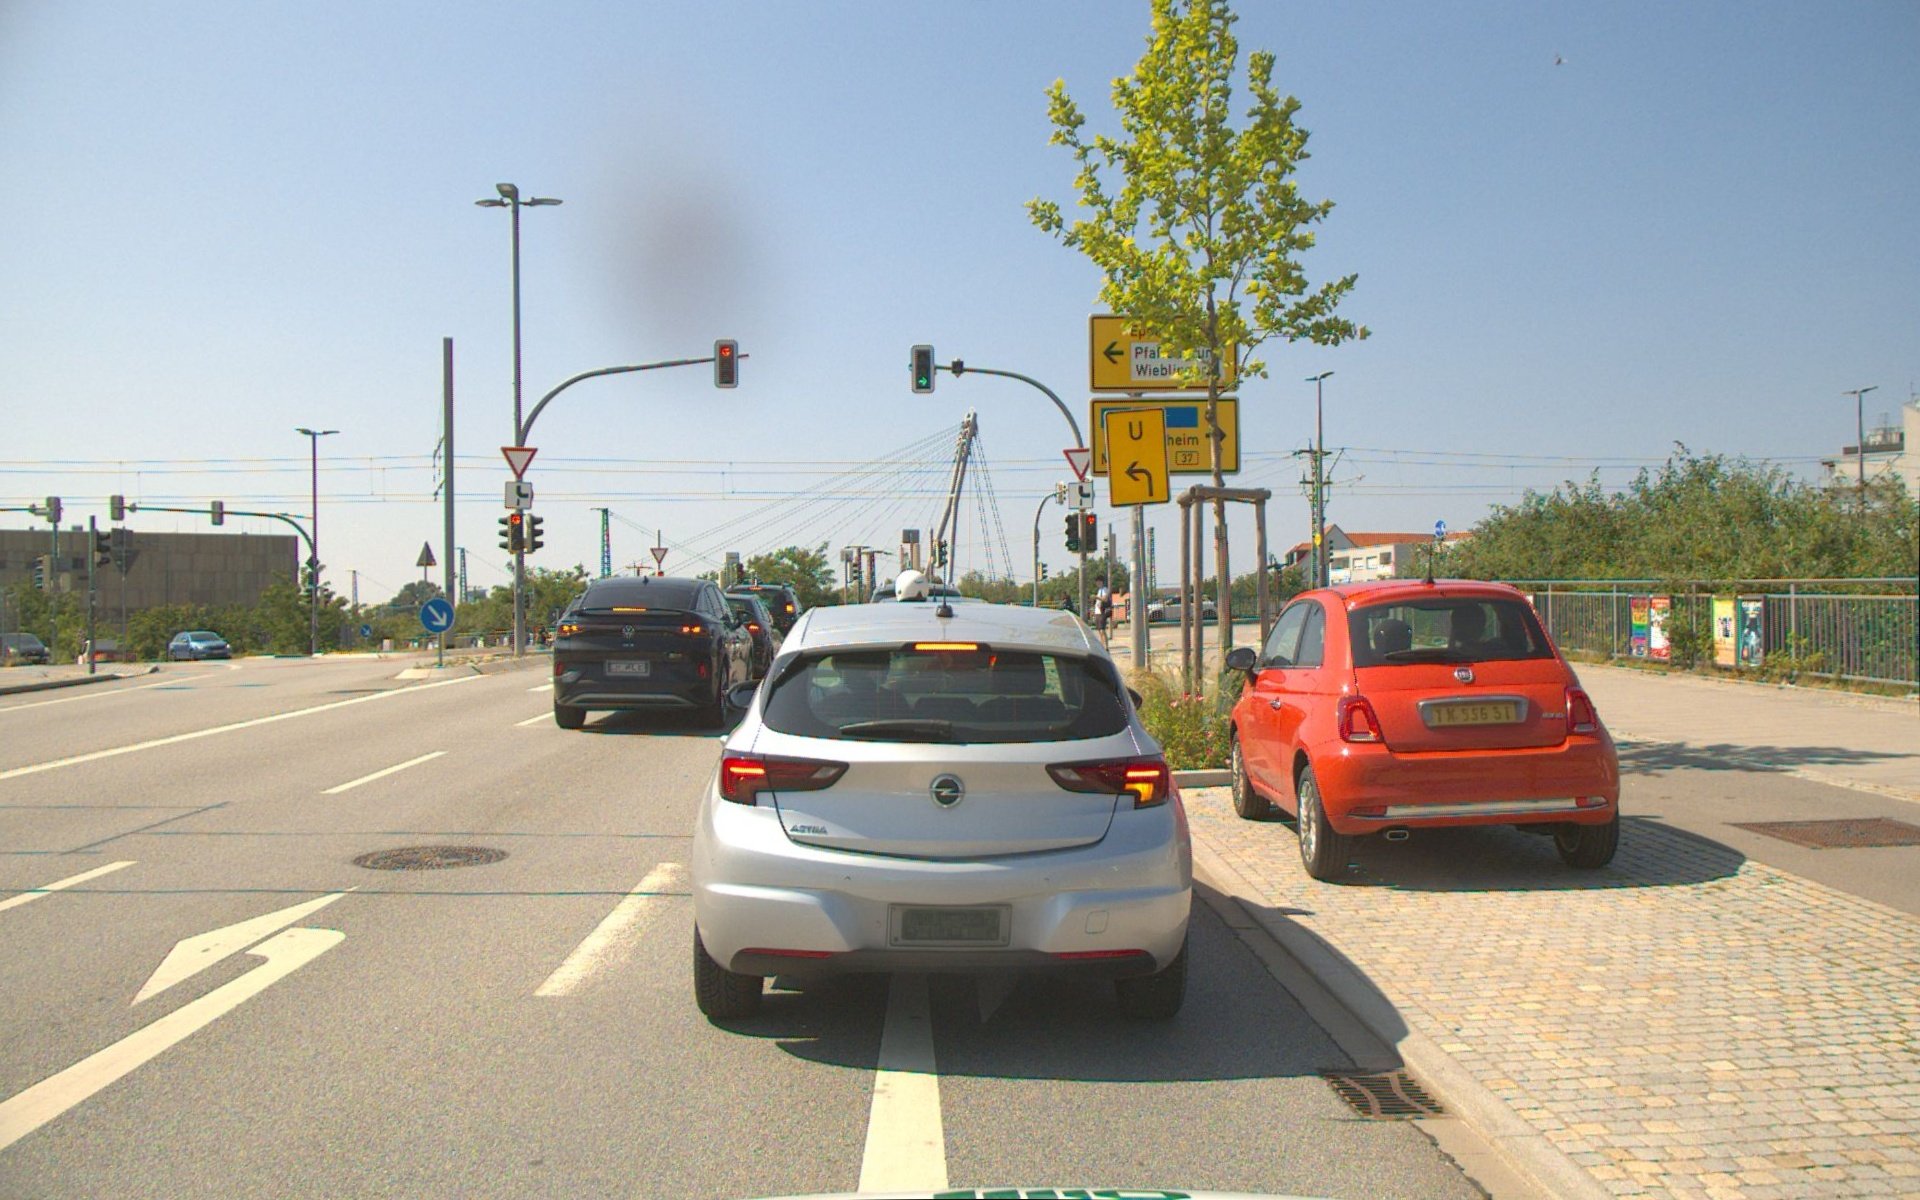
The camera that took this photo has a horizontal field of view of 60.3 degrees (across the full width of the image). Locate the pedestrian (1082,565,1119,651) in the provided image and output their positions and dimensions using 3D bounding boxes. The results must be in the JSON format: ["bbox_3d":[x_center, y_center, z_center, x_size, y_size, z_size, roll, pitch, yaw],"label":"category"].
[{"bbox_3d":[3.172,0.180,37.418,0.634,1.868,0.797,-4,0,-3],"label":"pedestrian"}]

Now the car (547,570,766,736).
[{"bbox_3d":[-3.362,0.554,19.105,1.765,1.670,4.365,1,0,-1],"label":"car"}]

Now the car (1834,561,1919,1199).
[{"bbox_3d":[2.929,0.622,1.916,1.627,1.451,3.999,-1,0,-1],"label":"car"}]

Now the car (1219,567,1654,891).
[{"bbox_3d":[2.592,0.617,9.767,1.577,1.522,3.352,-2,0,0],"label":"car"}]

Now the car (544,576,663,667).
[{"bbox_3d":[-6.589,0.390,30.875,1.565,1.574,3.760,1,0,-3],"label":"car"}]

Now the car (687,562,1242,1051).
[{"bbox_3d":[-0.088,0.655,7.139,1.708,1.503,3.997,1,0,-3],"label":"car"}]

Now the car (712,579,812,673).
[{"bbox_3d":[-3.714,0.474,31.487,1.616,1.643,3.818,1,0,-3],"label":"car"}]

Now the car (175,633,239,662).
[{"bbox_3d":[-36.183,2.268,79.441,1.806,1.354,3.941,1,-2,-40],"label":"car"}]

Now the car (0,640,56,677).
[{"bbox_3d":[-41.238,2.566,73.112,1.662,1.502,3.358,-1,1,-39],"label":"car"}]

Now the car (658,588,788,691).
[{"bbox_3d":[-3.582,0.573,25.534,1.543,1.459,3.785,1,0,-2],"label":"car"}]

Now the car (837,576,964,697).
[{"bbox_3d":[-0.820,0.462,24.310,1.689,1.591,4.000,1,1,-1],"label":"car"}]

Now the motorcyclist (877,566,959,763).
[{"bbox_3d":[-0.315,0.466,12.280,0.570,1.413,0.706,1,-1,-2],"label":"motorcyclist"}]

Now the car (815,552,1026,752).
[{"bbox_3d":[-0.404,0.463,17.745,1.953,1.852,4.401,1,1,-1],"label":"car"}]
